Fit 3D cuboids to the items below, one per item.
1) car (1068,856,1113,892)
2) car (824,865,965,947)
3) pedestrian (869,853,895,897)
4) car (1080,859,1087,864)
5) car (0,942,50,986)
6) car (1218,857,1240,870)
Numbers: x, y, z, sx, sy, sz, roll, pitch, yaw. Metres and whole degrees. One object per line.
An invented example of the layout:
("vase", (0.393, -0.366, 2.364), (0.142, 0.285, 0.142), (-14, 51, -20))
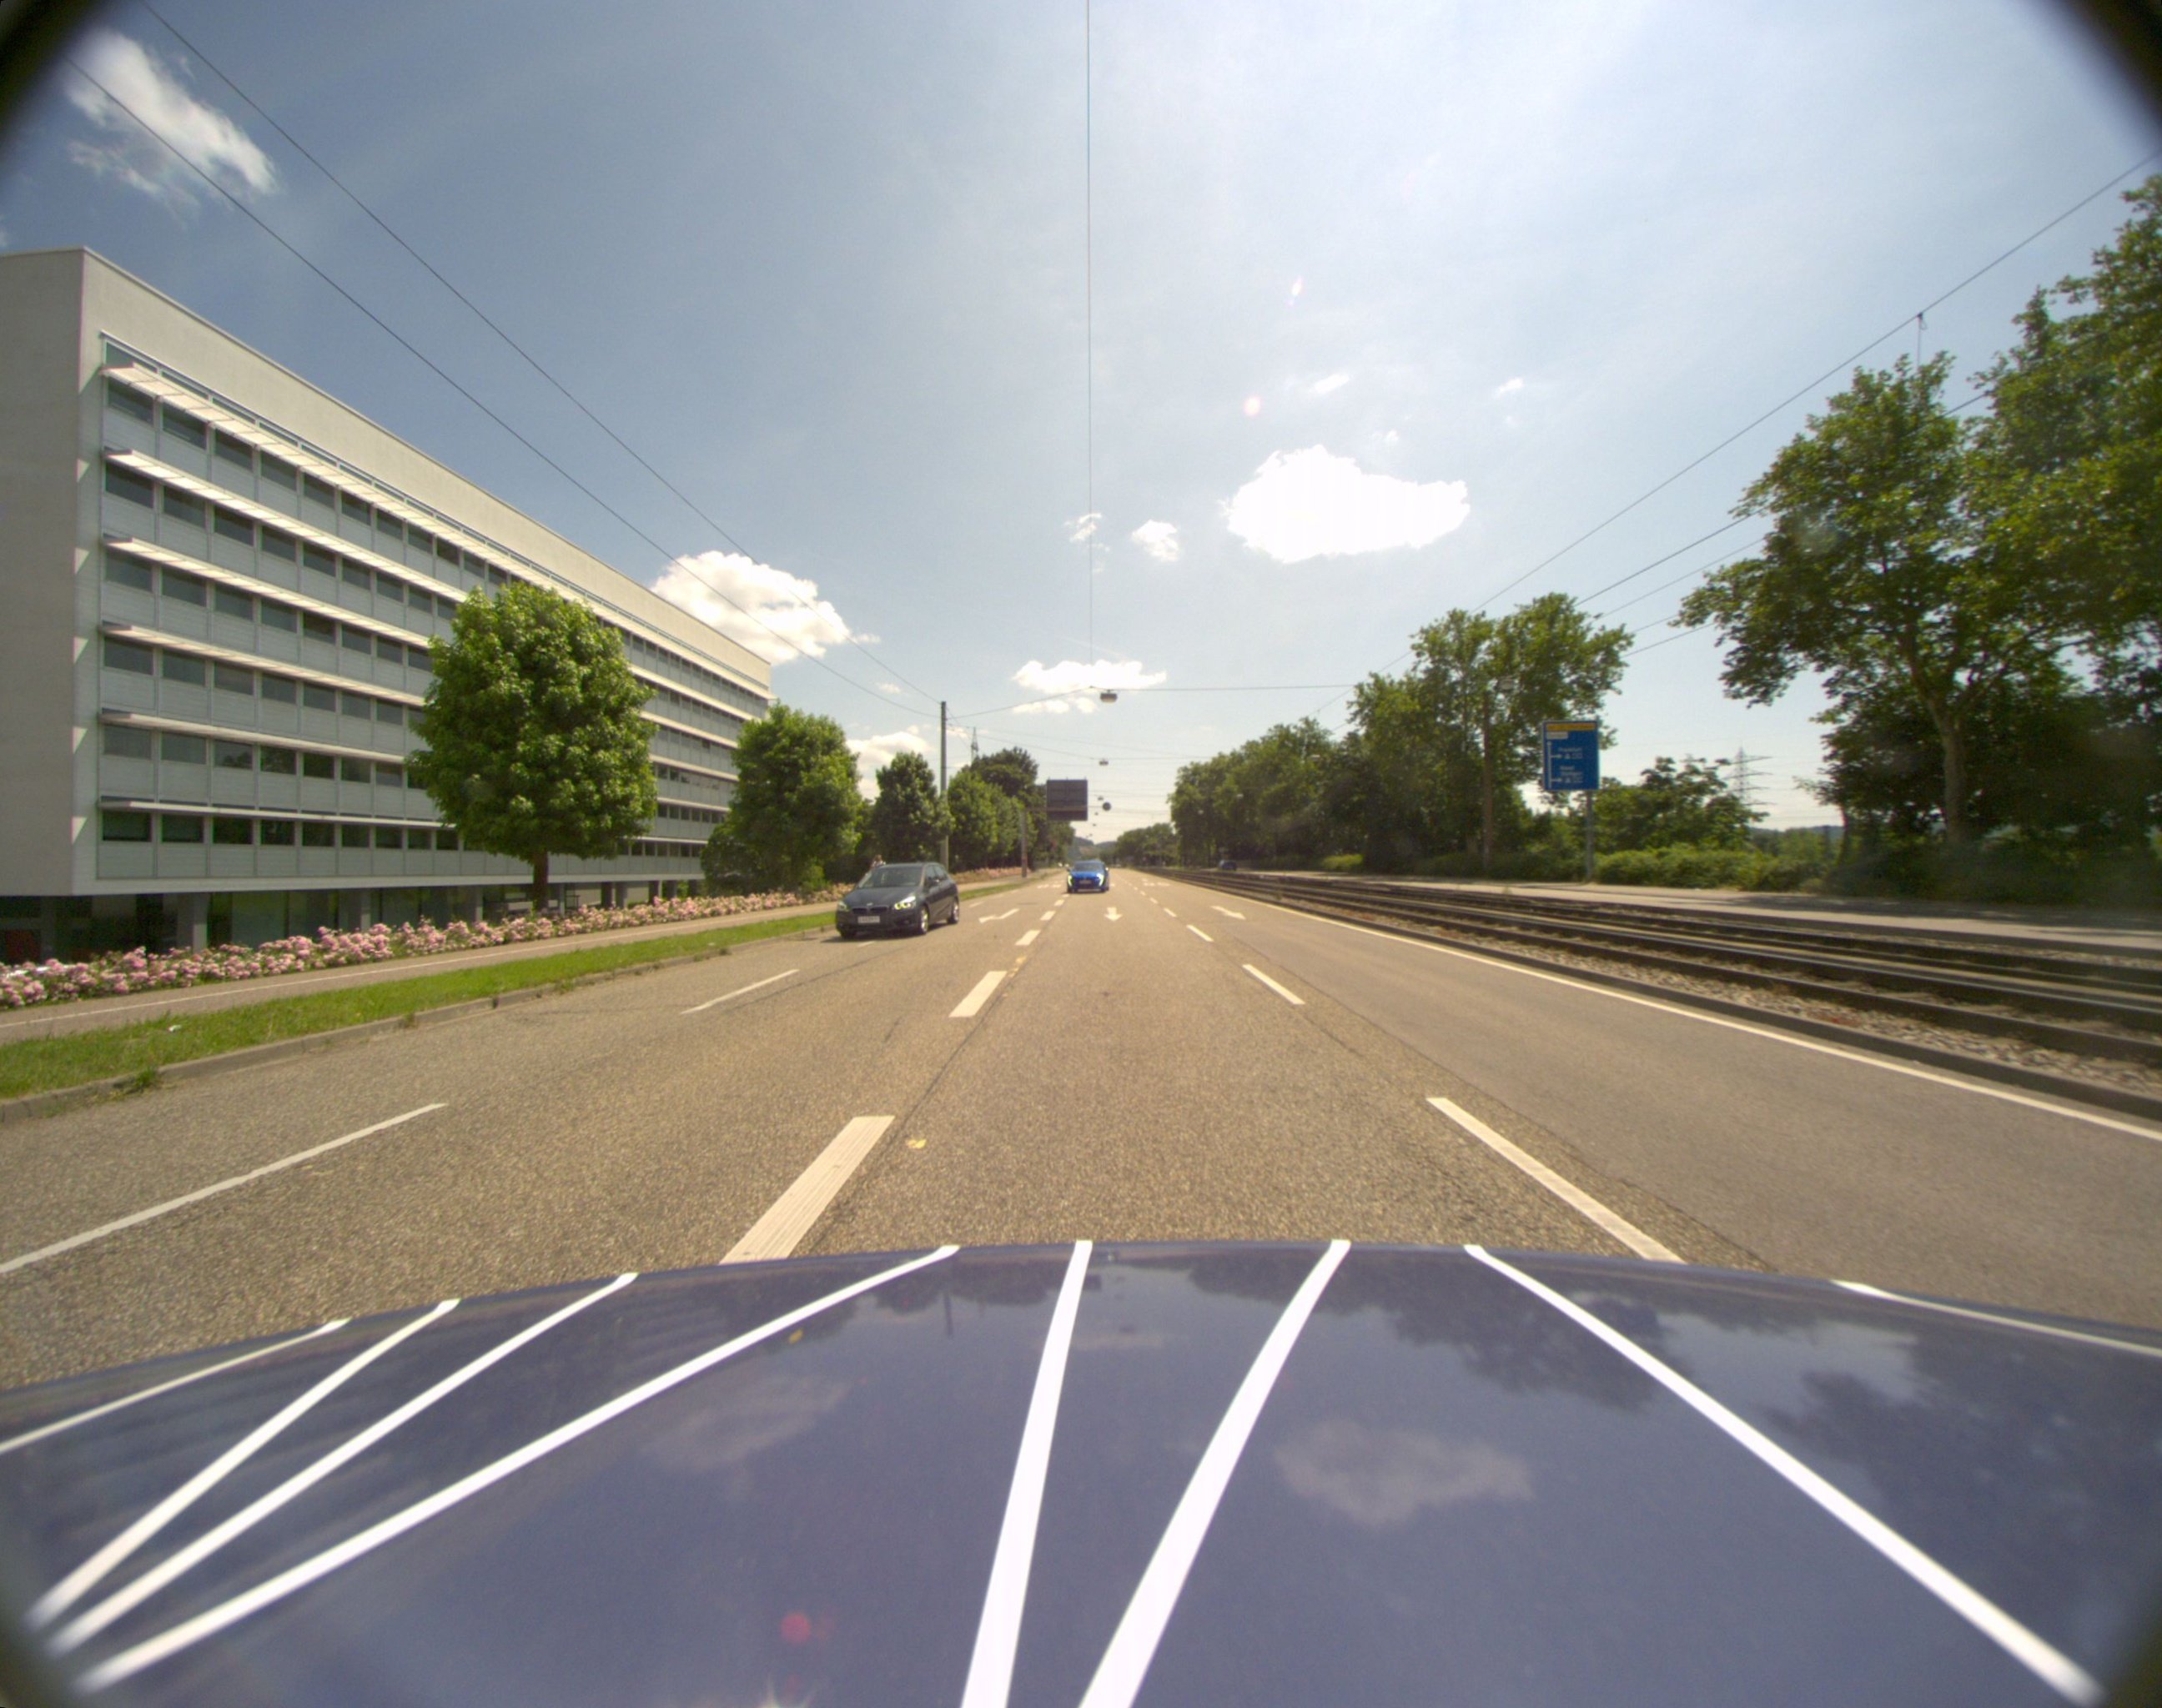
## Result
("car", (0.475, 0.940, 35.216), (1.842, 1.445, 4.002), (-4, -2, 1))
("car", (-4.036, 1.072, 17.166), (1.764, 1.517, 4.101), (-2, 0, 6))
("pedestrian", (-8.641, 0.895, 33.021), (0.758, 1.838, 0.931), (-2, 1, 3))
("car", (0.714, 1.954, 201.535), (1.896, 1.331, 4.000), (-2, 0, 1))
("car", (-43.775, 4.470, 29.484), (1.998, 1.602, 4.000), (-2, 0, 1))
("car", (18.633, 1.190, 96.057), (1.803, 1.495, 4.735), (1, 0, -1))
